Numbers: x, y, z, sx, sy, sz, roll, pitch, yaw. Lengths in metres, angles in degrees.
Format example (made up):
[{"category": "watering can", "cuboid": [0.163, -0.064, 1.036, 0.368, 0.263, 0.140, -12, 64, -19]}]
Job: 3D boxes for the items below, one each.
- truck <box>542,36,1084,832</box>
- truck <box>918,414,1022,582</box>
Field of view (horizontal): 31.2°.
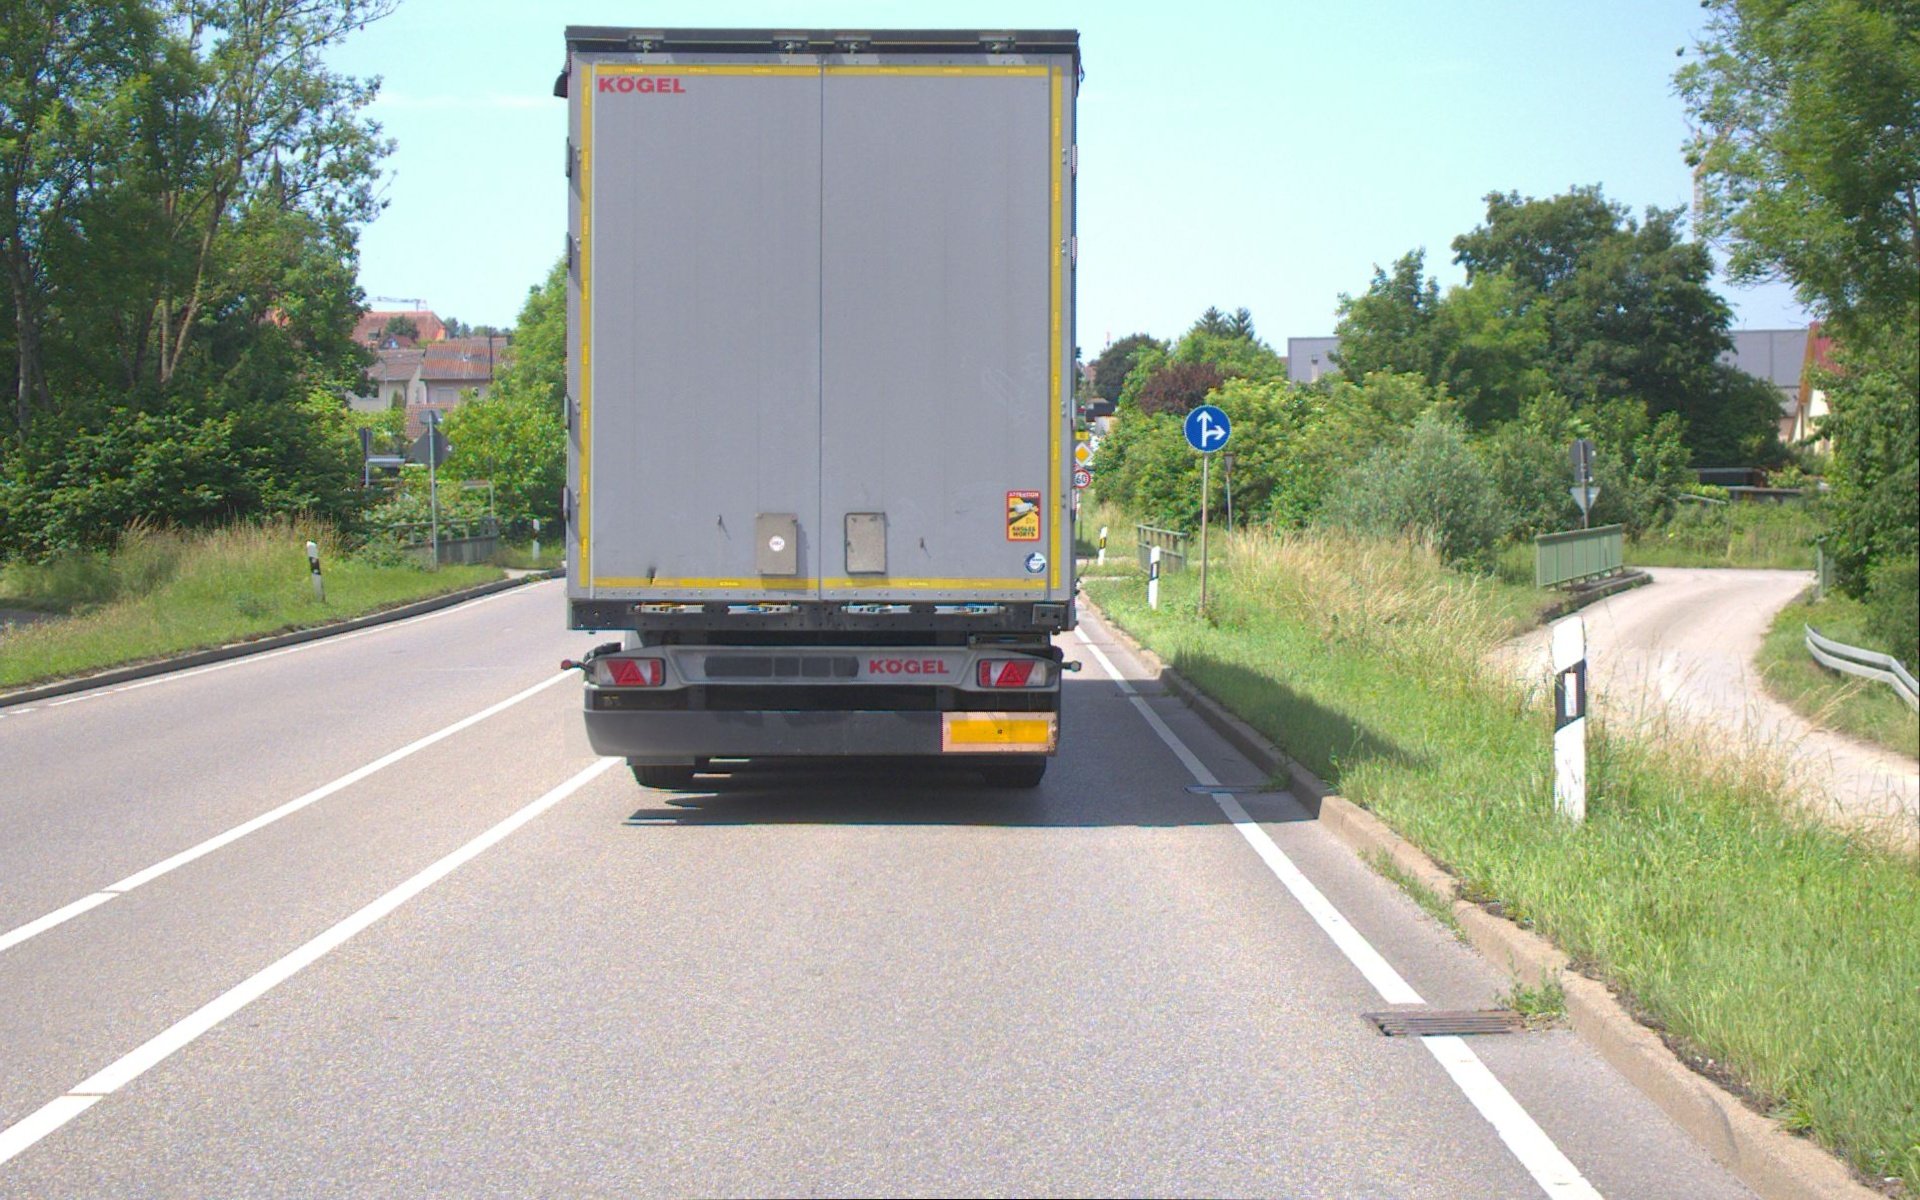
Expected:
[{"category": "truck", "cuboid": [-0.795, -0.907, 21.351, 2.647, 3.903, 8.826, 0, 1, -1]}, {"category": "truck", "cuboid": [0.221, -2.886, 100.222, 2.646, 4.585, 10.817, 1, 1, -1]}]
